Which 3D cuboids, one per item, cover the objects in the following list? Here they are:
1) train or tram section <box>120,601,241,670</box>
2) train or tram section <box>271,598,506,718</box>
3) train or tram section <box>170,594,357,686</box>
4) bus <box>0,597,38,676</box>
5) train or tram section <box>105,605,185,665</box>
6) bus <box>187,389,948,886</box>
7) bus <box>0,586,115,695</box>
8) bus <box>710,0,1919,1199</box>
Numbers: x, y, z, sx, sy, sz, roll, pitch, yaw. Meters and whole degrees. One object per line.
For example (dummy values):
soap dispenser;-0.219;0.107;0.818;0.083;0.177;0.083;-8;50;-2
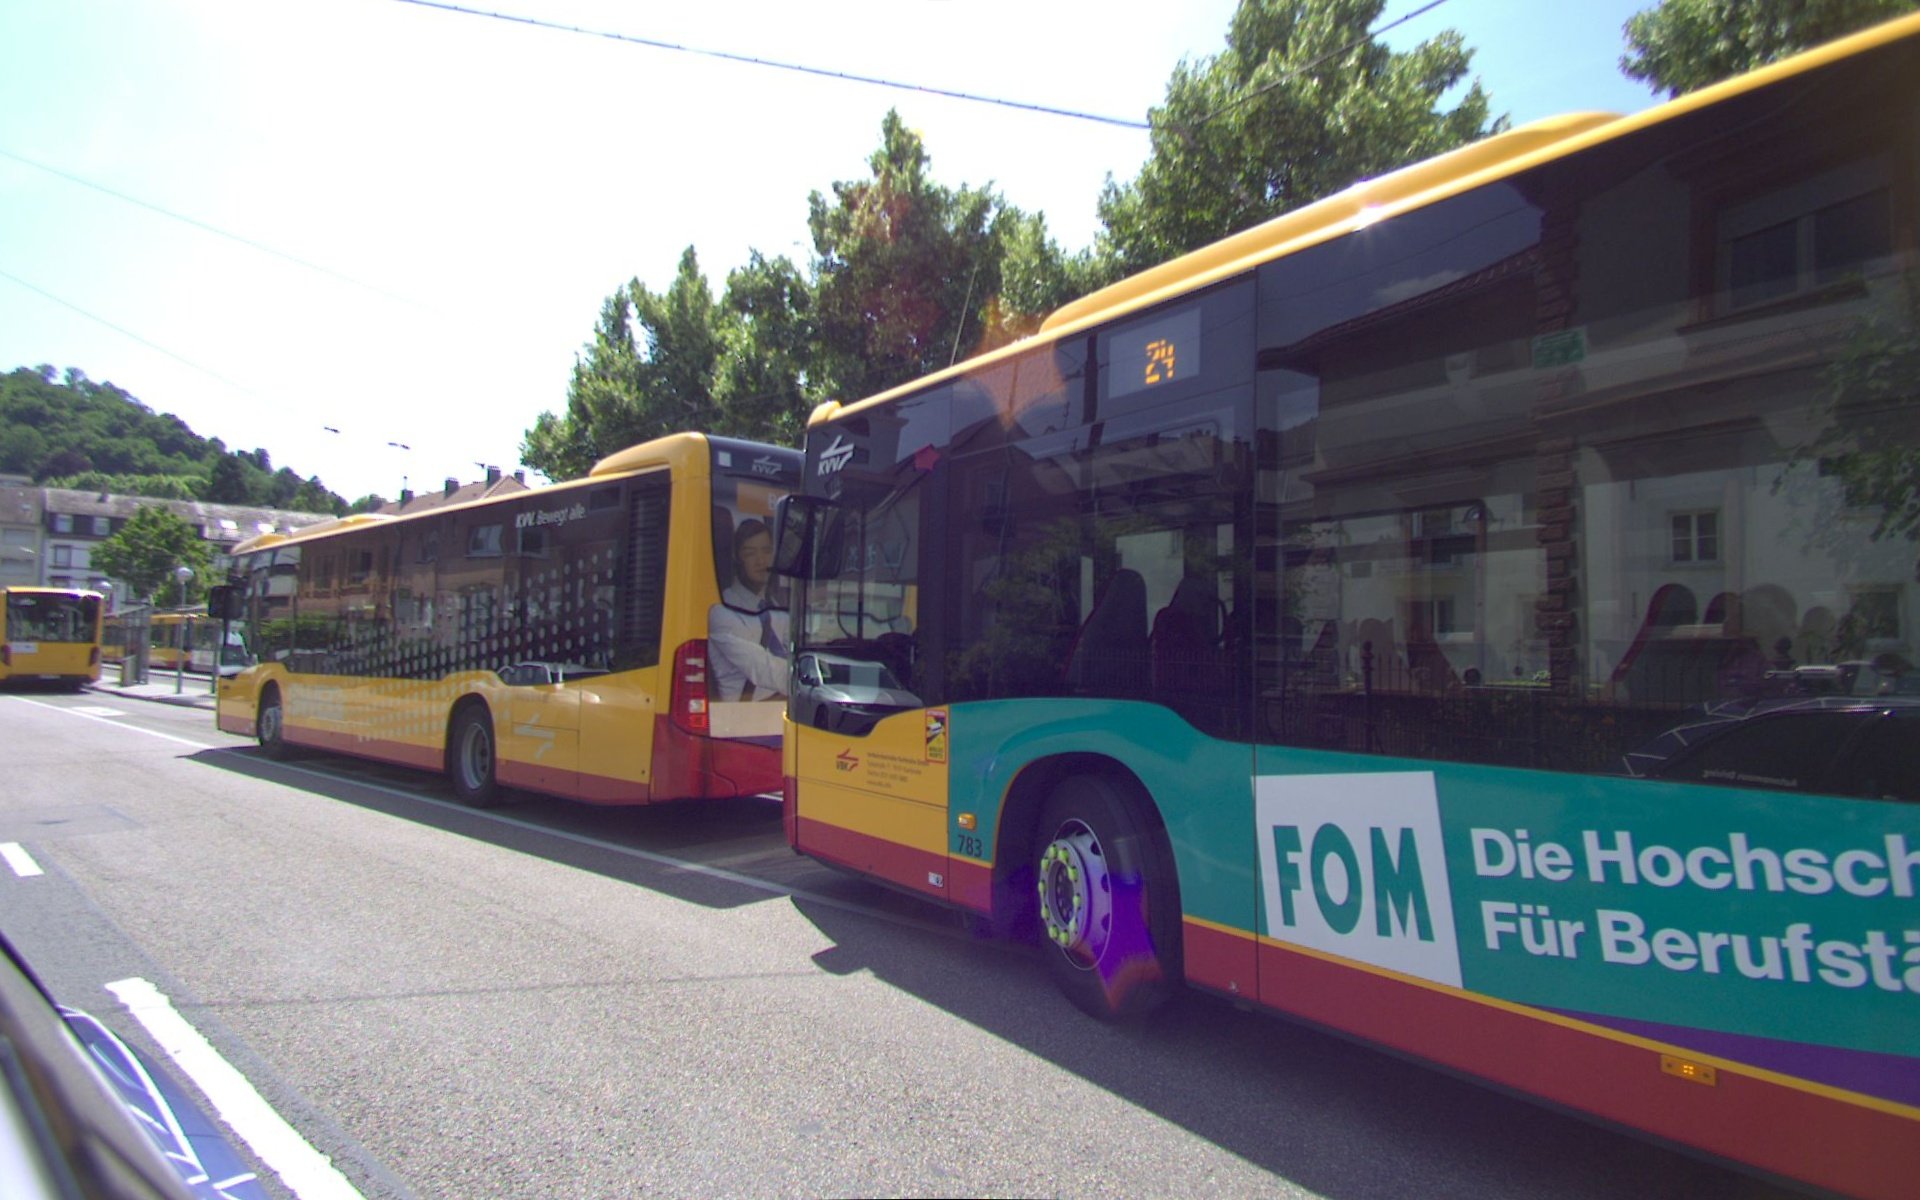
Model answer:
train or tram section;-43.806;1.944;56.660;12.650;3.522;2.932;-1;-2;41
train or tram section;-21.077;1.916;36.633;13.987;3.670;2.932;-1;-2;41
train or tram section;-32.674;1.752;46.889;17.343;3.670;2.932;-1;-2;41
bus;-47.120;1.805;48.504;12.032;3.453;2.878;-2;-3;41
train or tram section;-50.148;2.183;62.229;4.415;3.522;2.932;-1;-4;41
bus;-5.609;0.364;11.730;12.111;3.272;2.877;-1;-2;41
bus;-32.714;1.253;35.542;12.192;3.272;2.867;0;-1;42
bus;3.289;-0.187;2.138;2.743;3.233;12.331;1;-3;-37
